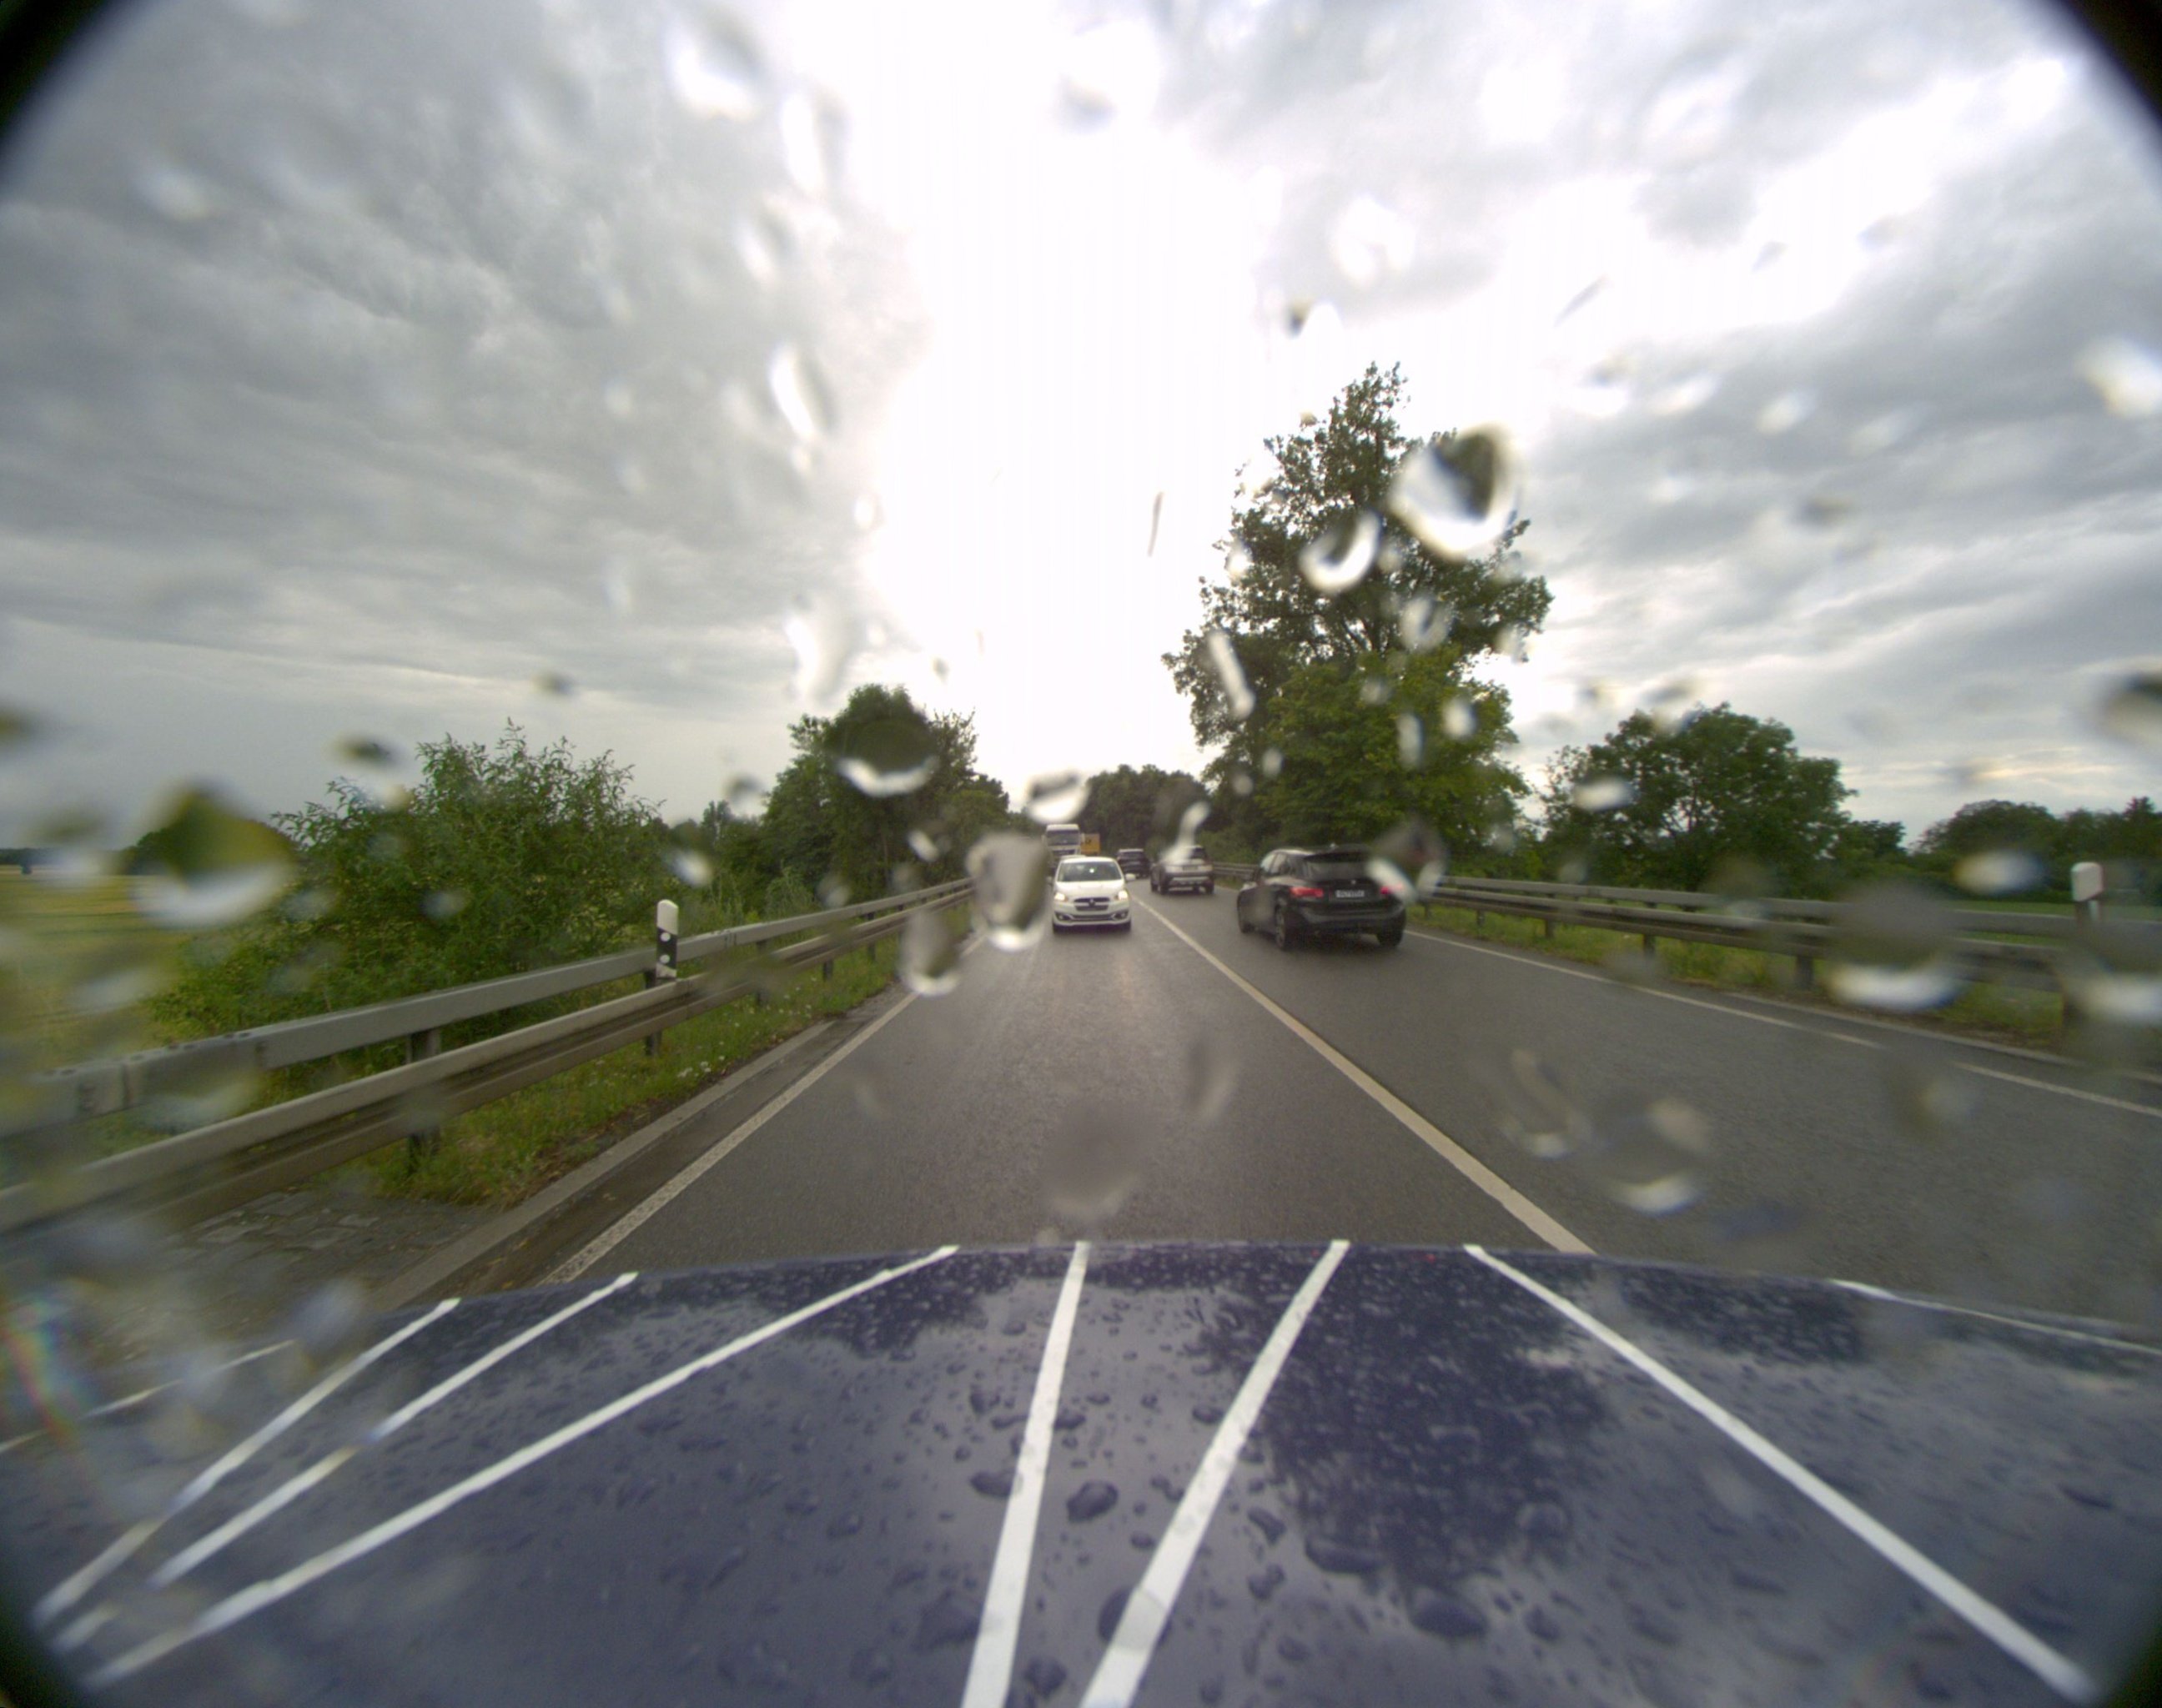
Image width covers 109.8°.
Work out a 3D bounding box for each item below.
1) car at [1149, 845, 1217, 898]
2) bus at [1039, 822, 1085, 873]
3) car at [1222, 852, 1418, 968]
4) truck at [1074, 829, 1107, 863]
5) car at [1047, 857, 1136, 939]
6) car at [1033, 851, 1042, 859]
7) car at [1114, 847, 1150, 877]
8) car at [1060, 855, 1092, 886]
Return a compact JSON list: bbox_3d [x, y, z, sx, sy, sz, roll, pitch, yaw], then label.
[{"bbox_3d":[3.633,0.599,27.795,1.846,1.690,4.389,-2,0,0],"label":"car"},{"bbox_3d":[-1.566,-0.478,59.071,3.064,3.405,13.636,-2,1,-2],"label":"bus"},{"bbox_3d":[3.667,0.775,12.489,1.904,1.532,4.023,-2,0,0],"label":"car"},{"bbox_3d":[1.011,-0.956,86.298,2.778,3.410,9.181,-5,2,-4],"label":"truck"},{"bbox_3d":[0.196,0.867,16.877,1.701,1.471,4.062,-2,1,0],"label":"car"},{"bbox_3d":[-7.594,0.177,131.958,1.393,1.470,3.226,-1,1,-4],"label":"car"},{"bbox_3d":[2.971,0.468,45.058,1.750,1.644,4.524,-2,0,0],"label":"car"},{"bbox_3d":[-0.227,0.790,37.307,1.475,1.410,3.428,-1,0,1],"label":"car"}]
